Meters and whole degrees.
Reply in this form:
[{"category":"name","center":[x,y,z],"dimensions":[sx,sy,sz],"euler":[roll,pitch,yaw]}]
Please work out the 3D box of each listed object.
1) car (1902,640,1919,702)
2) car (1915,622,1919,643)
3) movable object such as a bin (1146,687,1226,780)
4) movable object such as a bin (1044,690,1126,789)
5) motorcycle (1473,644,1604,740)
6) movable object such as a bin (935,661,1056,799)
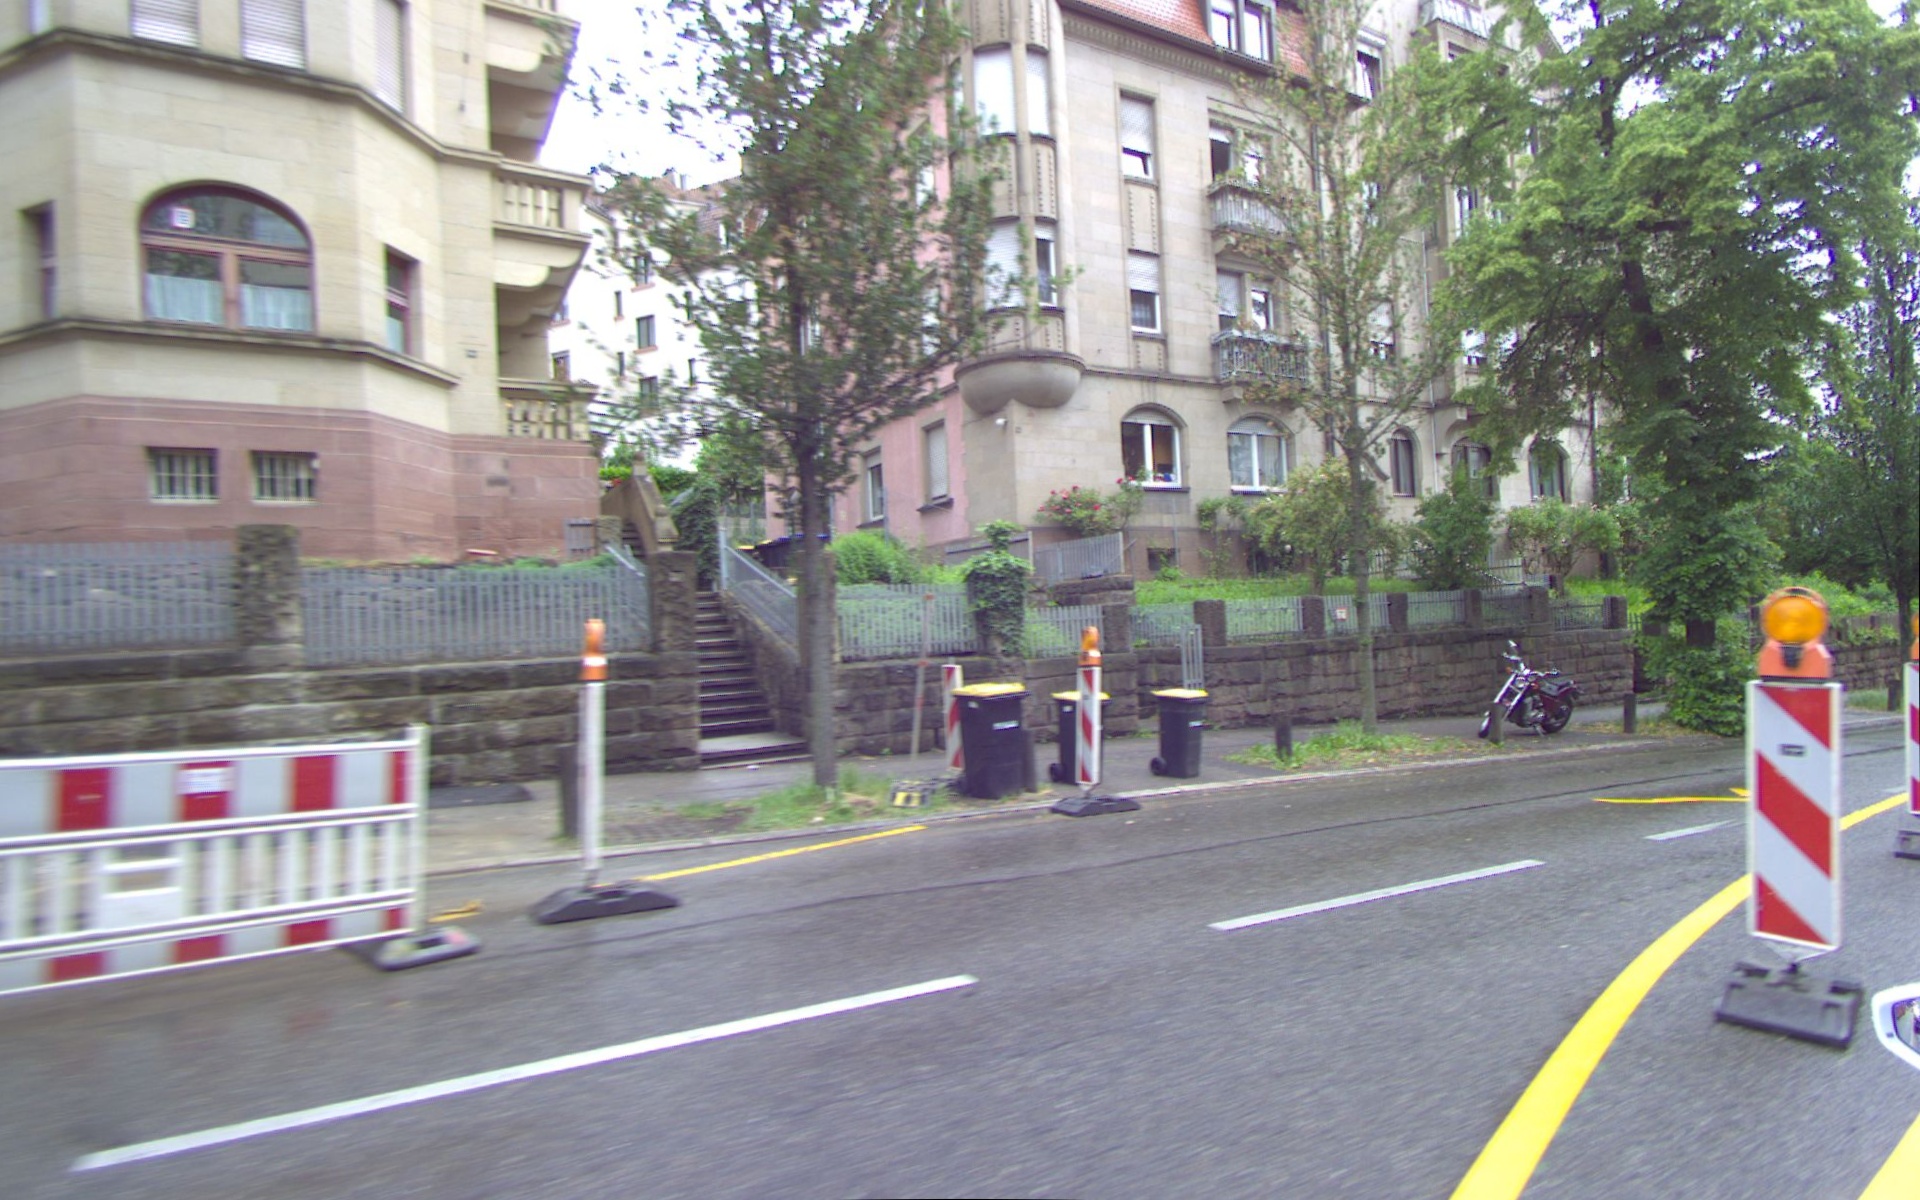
[{"category":"car","center":[24.753,1.681,24.384],"dimensions":[4.031,1.458,1.630],"euler":[1,-3,-30]},{"category":"car","center":[81.653,2.711,82.740],"dimensions":[1.723,1.773,3.989],"euler":[2,-1,-14]},{"category":"movable object such as a bin","center":[2.476,1.444,11.013],"dimensions":[0.616,0.920,0.601],"euler":[1,0,-29]},{"category":"movable object such as a bin","center":[1.289,1.420,10.391],"dimensions":[0.616,0.920,0.601],"euler":[1,0,-29]},{"category":"motorcycle","center":[8.887,1.372,15.396],"dimensions":[2.177,1.363,0.762],"euler":[2,-1,-31]},{"category":"movable object such as a bin","center":[0.341,1.252,10.026],"dimensions":[0.845,1.230,0.941],"euler":[1,0,-29]}]
